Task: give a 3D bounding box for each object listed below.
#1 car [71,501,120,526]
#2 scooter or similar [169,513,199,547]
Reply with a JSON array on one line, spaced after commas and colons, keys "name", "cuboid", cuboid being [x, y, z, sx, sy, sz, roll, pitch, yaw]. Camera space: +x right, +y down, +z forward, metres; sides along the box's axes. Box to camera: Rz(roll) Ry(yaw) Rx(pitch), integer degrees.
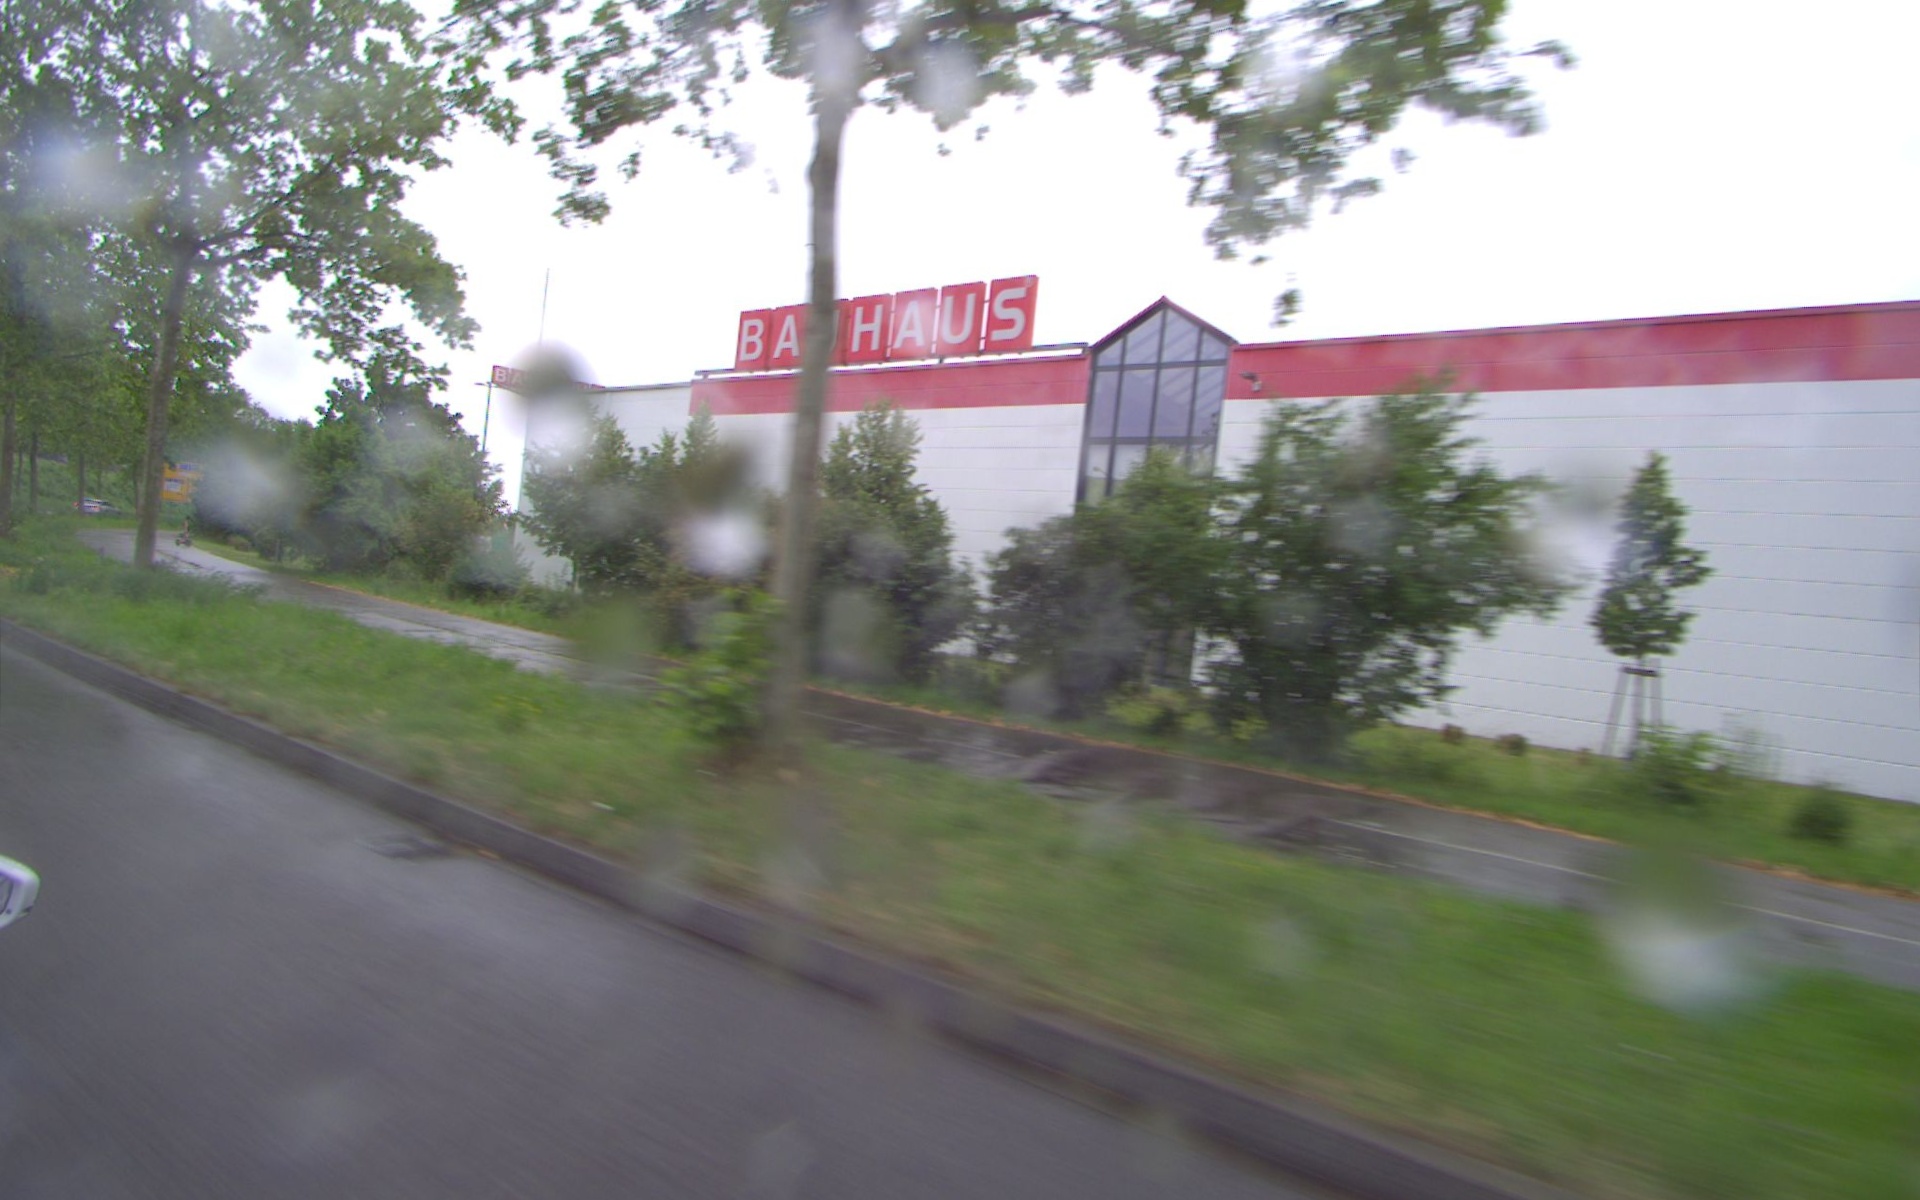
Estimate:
[{"name": "car", "cuboid": [-69.165, -6.897, 80.511, 1.764, 1.573, 3.976, 9, -1, -25]}, {"name": "scooter or similar", "cuboid": [-31.254, -2.827, 40.529, 1.094, 1.212, 0.549, 7, 0, 34]}]
